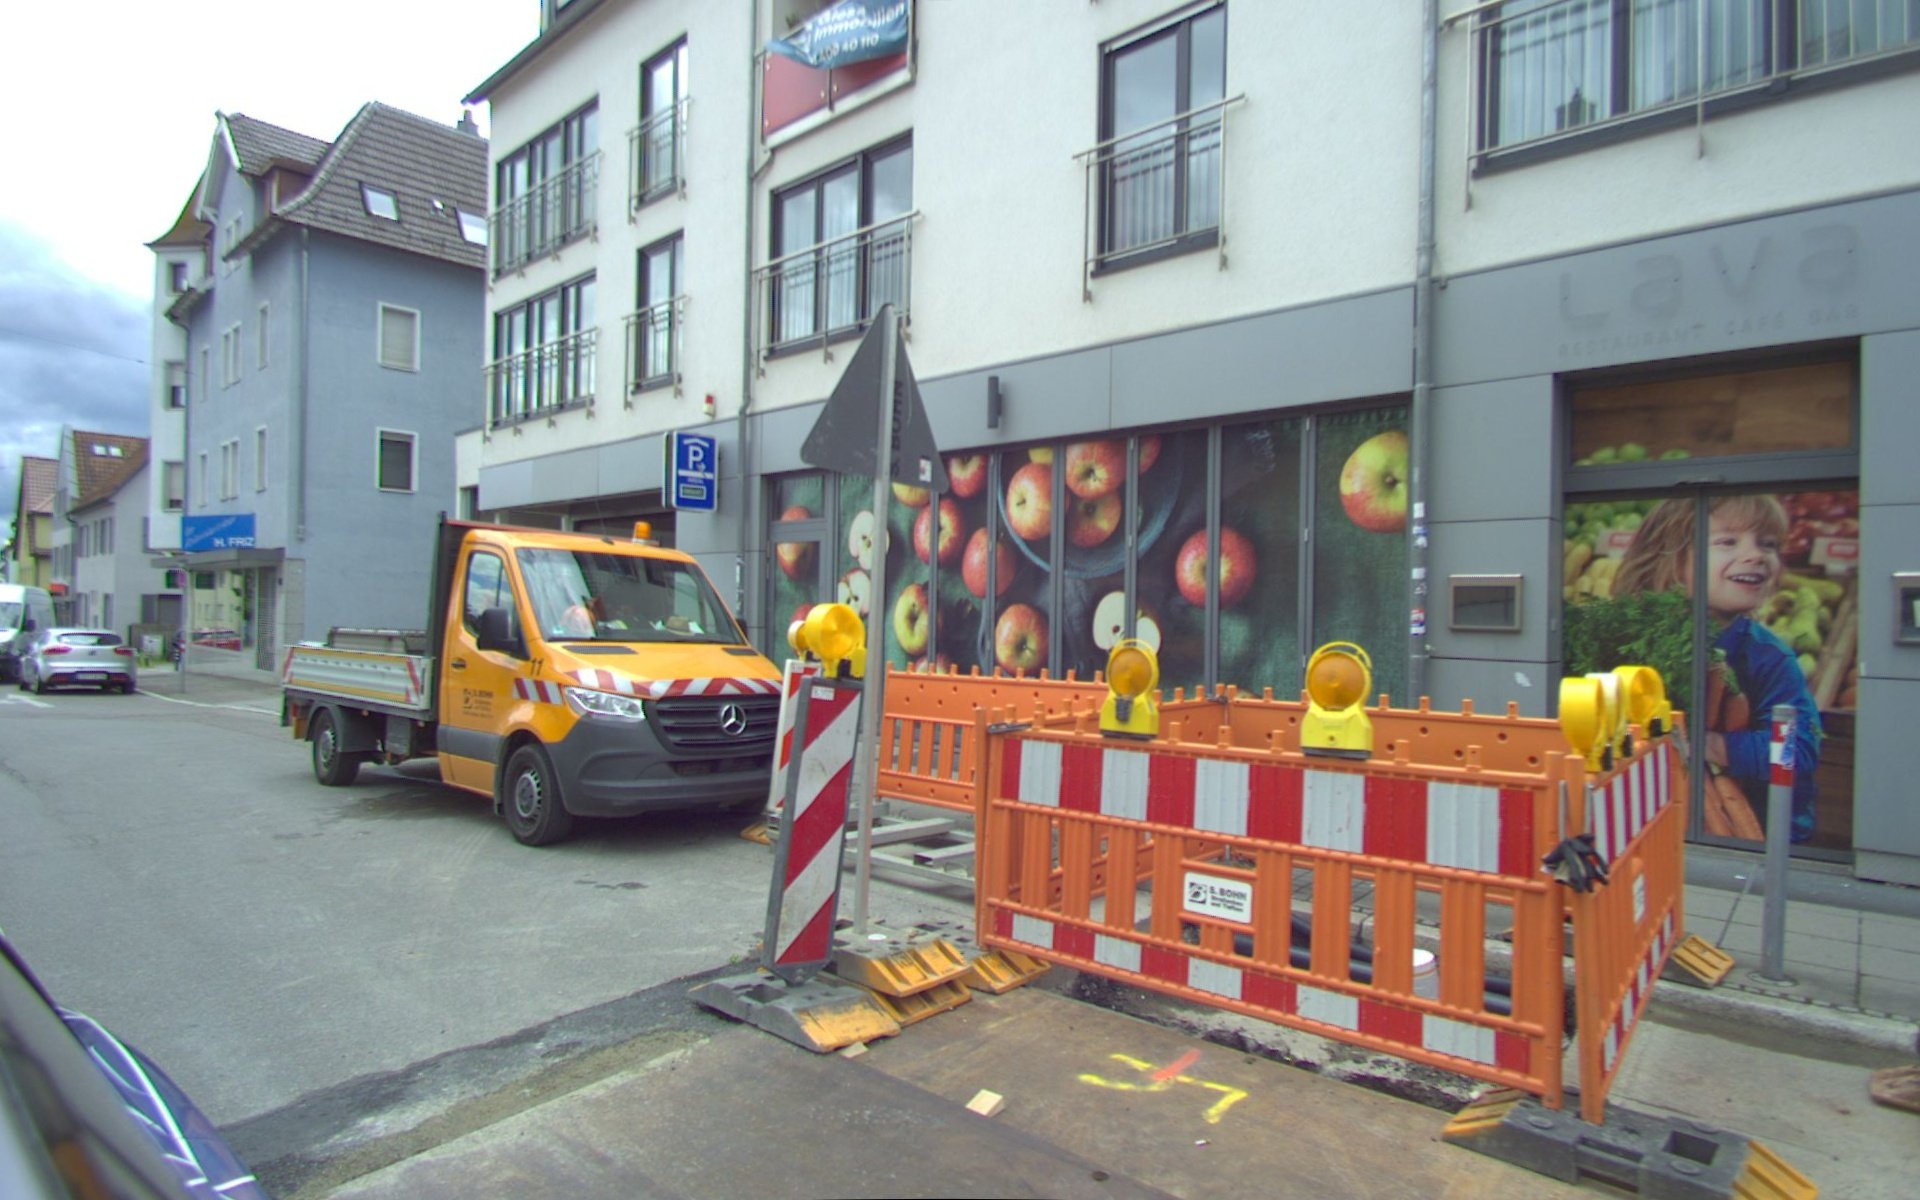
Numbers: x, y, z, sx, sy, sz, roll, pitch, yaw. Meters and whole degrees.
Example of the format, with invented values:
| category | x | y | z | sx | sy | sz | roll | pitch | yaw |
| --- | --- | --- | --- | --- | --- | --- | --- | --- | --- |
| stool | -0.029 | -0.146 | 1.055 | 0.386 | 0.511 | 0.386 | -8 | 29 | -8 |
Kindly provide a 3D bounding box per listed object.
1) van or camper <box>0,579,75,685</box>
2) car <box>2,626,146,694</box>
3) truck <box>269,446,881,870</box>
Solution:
| category | x | y | z | sx | sy | sz | roll | pitch | yaw |
| --- | --- | --- | --- | --- | --- | --- | --- | --- | --- |
| van or camper | -26.007 | 0.849 | 27.186 | 2.287 | 2.627 | 6.225 | 1 | -2 | -31 |
| car | -20.308 | 1.324 | 23.151 | 3.995 | 1.422 | 1.780 | -1 | -3 | 39 |
| truck | -3.743 | 0.428 | 8.933 | 6.305 | 2.485 | 2.388 | -2 | -3 | 42 |
